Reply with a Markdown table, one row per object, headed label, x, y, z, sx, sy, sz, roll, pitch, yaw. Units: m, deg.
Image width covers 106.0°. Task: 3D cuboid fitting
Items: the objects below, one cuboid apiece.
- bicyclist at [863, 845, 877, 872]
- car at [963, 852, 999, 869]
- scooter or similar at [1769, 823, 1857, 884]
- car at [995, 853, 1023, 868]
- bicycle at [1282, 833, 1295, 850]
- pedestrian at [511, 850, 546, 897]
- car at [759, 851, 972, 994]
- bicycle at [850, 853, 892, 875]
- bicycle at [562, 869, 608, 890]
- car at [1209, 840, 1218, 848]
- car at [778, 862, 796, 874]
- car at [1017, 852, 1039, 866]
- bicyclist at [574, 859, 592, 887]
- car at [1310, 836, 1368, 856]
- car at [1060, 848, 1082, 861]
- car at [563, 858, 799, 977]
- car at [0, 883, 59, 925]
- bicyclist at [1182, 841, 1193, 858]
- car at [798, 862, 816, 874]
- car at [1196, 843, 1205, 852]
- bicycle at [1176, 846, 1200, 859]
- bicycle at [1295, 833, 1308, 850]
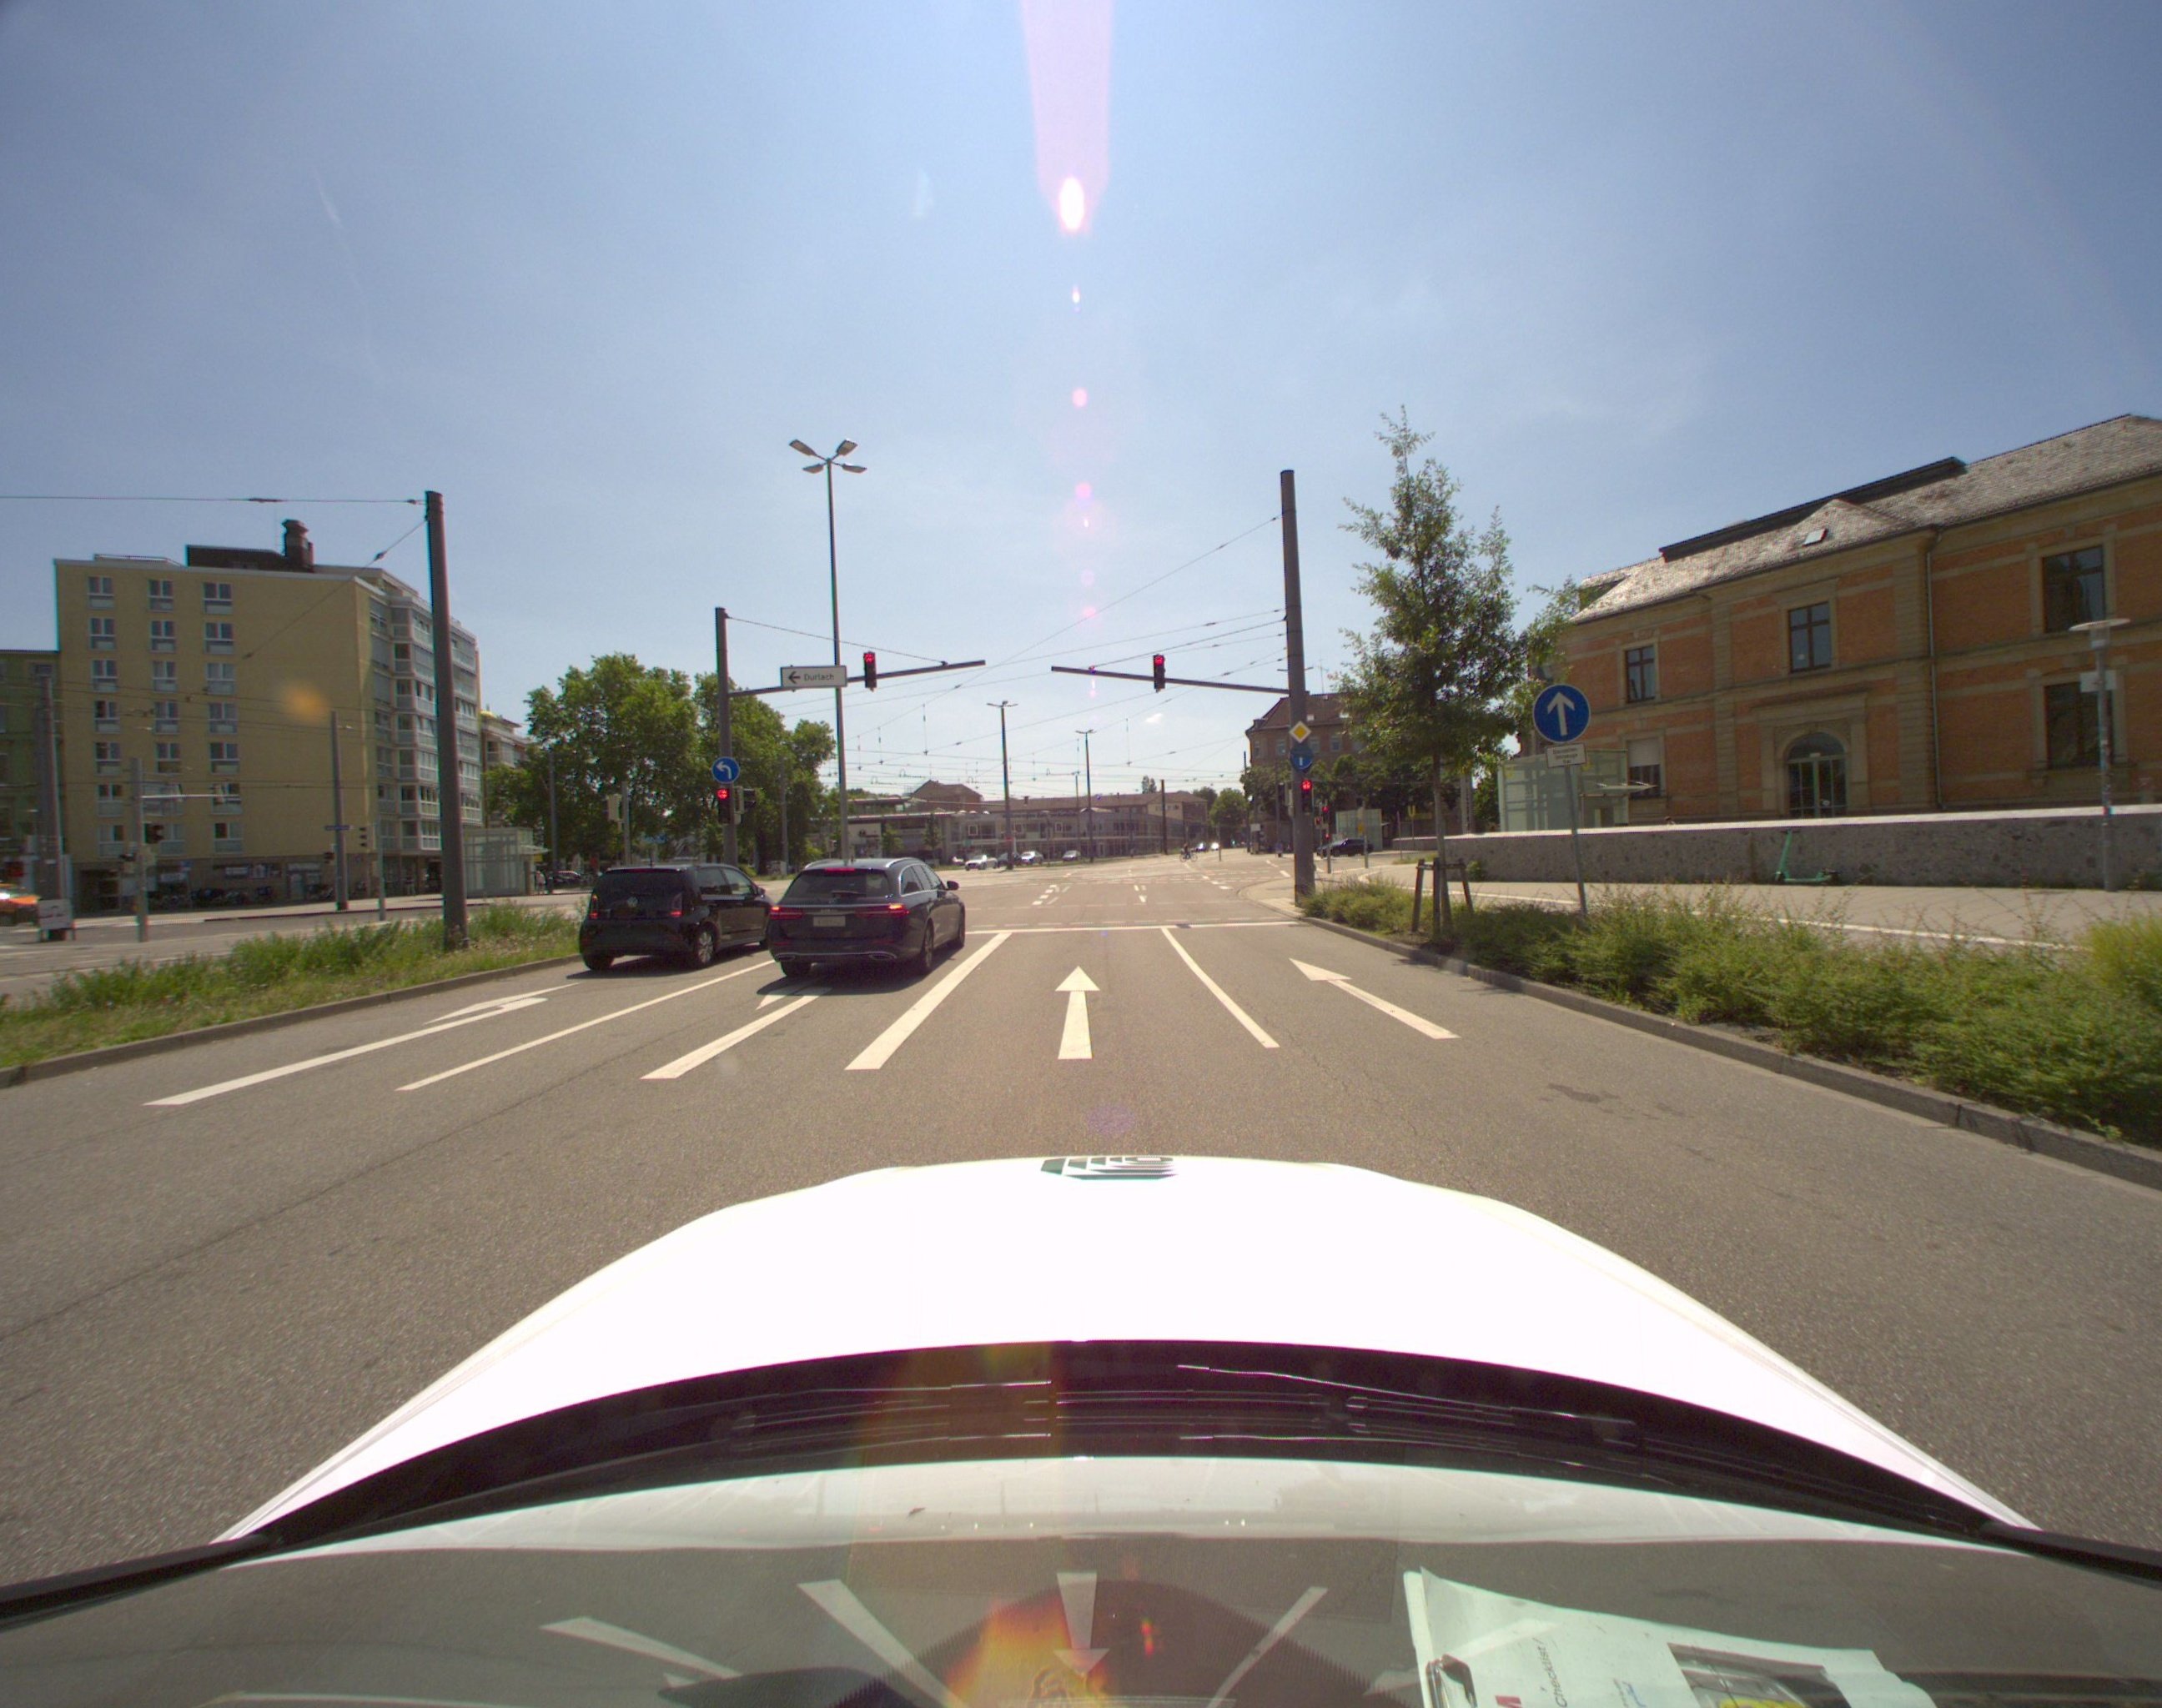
| label | x | y | z | sx | sy | sz | roll | pitch | yaw |
| --- | --- | --- | --- | --- | --- | --- | --- | --- | --- |
| bicyclist | -15.332 | 0.312 | 59.245 | 0.761 | 1.937 | 0.660 | -2 | 2 | -1 |
| car | -9.231 | 0.579 | 75.540 | 1.606 | 1.390 | 4.143 | -2 | 0 | 18 |
| scooter or similar | 14.688 | -0.027 | 16.378 | 0.398 | 1.167 | 1.281 | -2 | 2 | -21 |
| car | -7.199 | 0.616 | 81.644 | 1.526 | 1.277 | 3.556 | -1 | 2 | 18 |
| bicycle | 23.205 | -1.418 | 91.008 | 0.610 | 1.788 | 3.182 | -2 | 2 | 1 |
| pedestrian | -35.775 | 1.263 | 52.758 | 1.211 | 2.937 | 1.335 | -2 | 2 | -3 |
| car | -2.750 | 0.768 | 11.541 | 1.711 | 1.556 | 4.587 | -2 | 0 | 0 |
| bicycle | -15.291 | 0.731 | 59.257 | 2.818 | 1.463 | 0.633 | -2 | 2 | -2 |
| bicycle | -36.145 | 1.852 | 59.334 | 2.772 | 1.385 | 0.669 | -2 | 2 | -7 |
| car | 27.598 | -2.022 | 169.648 | 1.577 | 1.528 | 3.724 | -1 | 2 | 7 |
| car | -40.760 | 1.948 | 112.816 | 1.422 | 1.508 | 3.432 | -2 | 2 | -5 |
| car | -5.709 | 0.506 | 87.461 | 1.421 | 1.285 | 3.274 | -1 | 2 | 13 |
| bicyclist | -36.248 | 1.365 | 59.320 | 0.845 | 1.965 | 0.625 | -2 | 2 | -7 |
| car | 20.314 | -0.642 | 64.106 | 4.114 | 1.450 | 1.687 | -2 | 2 | -19 |
| car | -1.212 | 0.027 | 98.794 | 1.558 | 1.427 | 3.631 | -1 | 2 | 18 |
| car | -5.949 | 0.845 | 12.701 | 1.615 | 1.463 | 4.000 | -2 | 0 | 1 |
| car | -47.708 | 2.236 | 34.934 | 4.630 | 1.613 | 1.668 | -2 | 2 | -15 |
| bicyclist | 9.717 | -0.408 | 74.438 | 0.734 | 1.479 | 0.652 | -2 | 2 | -18 |
| car | -37.794 | 1.969 | 112.228 | 1.507 | 1.418 | 3.415 | -2 | 2 | -5 |
| car | 21.421 | -1.229 | 146.225 | 1.522 | 1.458 | 3.561 | -1 | 2 | 8 |
| bicycle | 9.815 | -0.125 | 74.469 | 2.166 | 1.107 | 0.454 | -2 | 2 | -18 |
| bicycle | 24.634 | -1.382 | 90.922 | 0.610 | 1.788 | 3.182 | -2 | 2 | 1 |
